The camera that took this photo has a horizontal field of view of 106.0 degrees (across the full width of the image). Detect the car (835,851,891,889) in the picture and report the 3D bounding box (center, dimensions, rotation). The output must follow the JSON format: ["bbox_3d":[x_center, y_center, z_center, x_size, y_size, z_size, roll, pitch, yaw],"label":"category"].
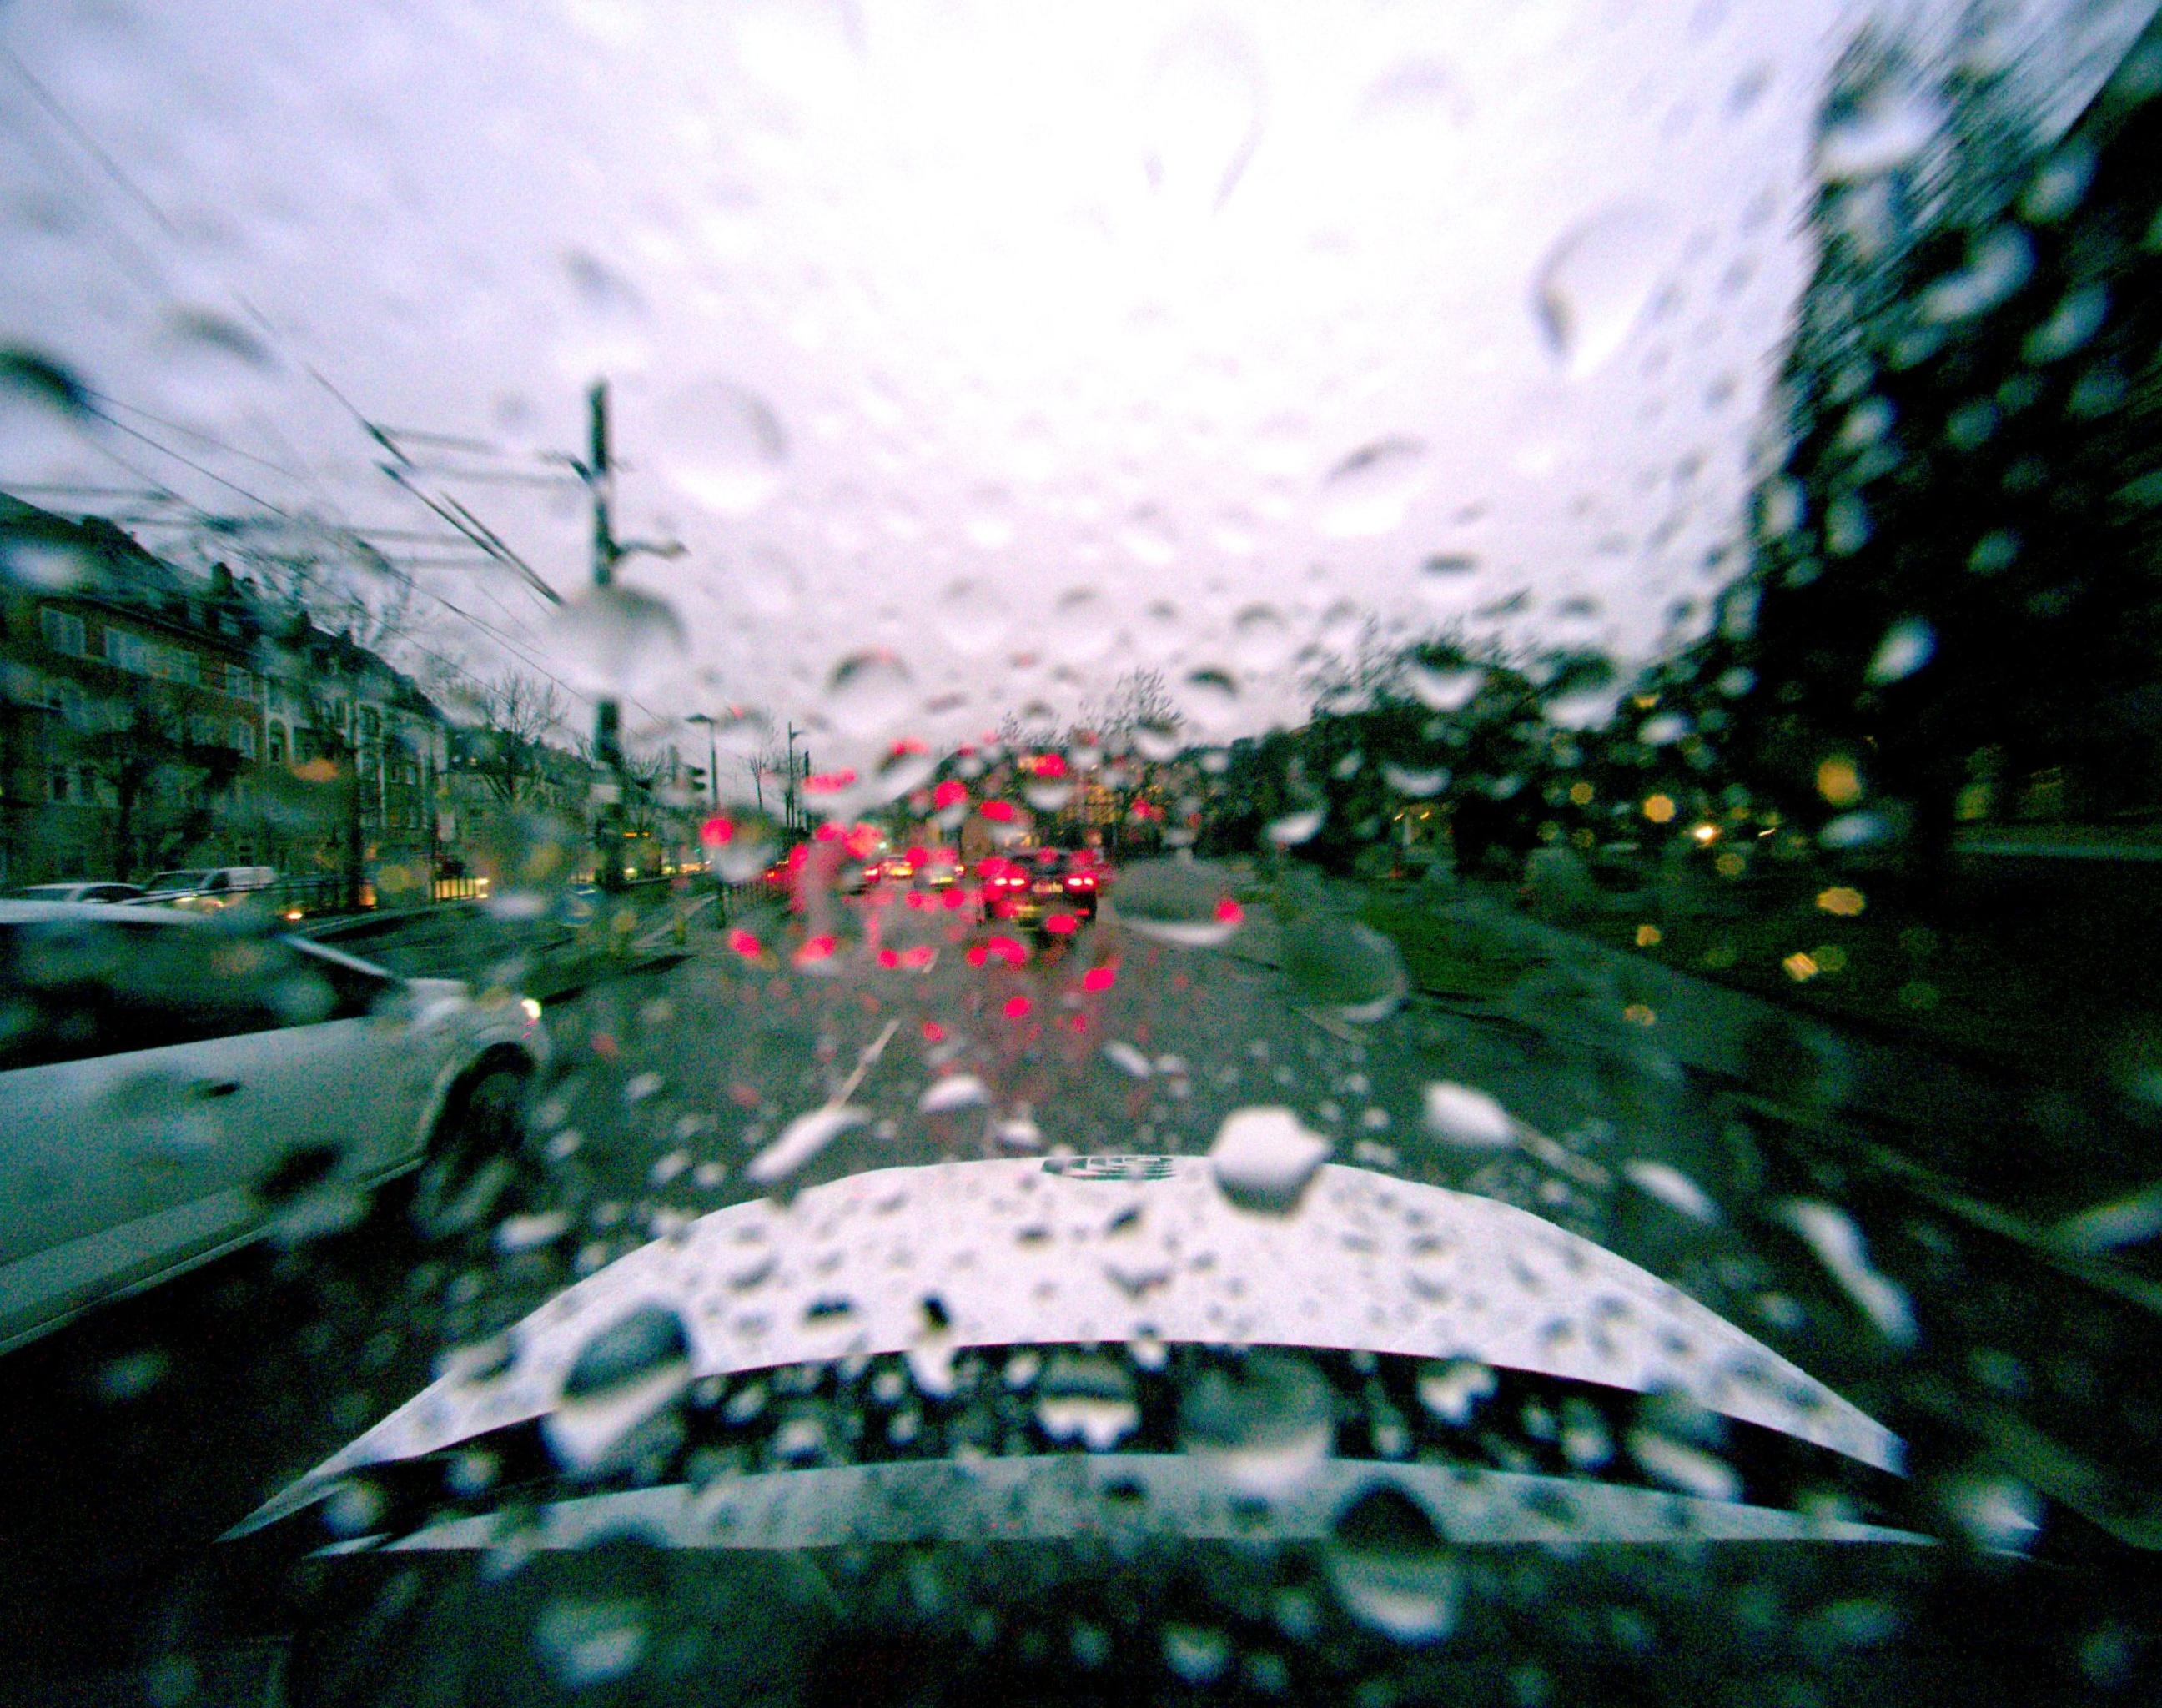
[{"bbox_3d":[-9.073,0.595,33.652,1.999,1.398,3.976,-2,1,-18],"label":"car"}]

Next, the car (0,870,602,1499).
[{"bbox_3d":[-3.564,0.905,2.577,1.621,1.487,4.001,-2,1,1],"label":"car"}]

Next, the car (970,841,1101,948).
[{"bbox_3d":[-0.980,0.619,14.962,1.990,1.616,3.988,-2,1,-9],"label":"car"}]

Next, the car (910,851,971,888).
[{"bbox_3d":[-6.044,0.602,34.709,1.999,1.408,3.976,-2,1,-18],"label":"car"}]

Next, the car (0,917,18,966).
[{"bbox_3d":[-28.110,2.310,19.233,1.541,1.226,4.063,-3,1,-18],"label":"car"}]

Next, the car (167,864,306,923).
[{"bbox_3d":[-31.974,1.429,31.023,1.999,1.940,3.919,-3,1,-18],"label":"car"}]

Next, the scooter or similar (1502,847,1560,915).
[{"bbox_3d":[8.753,0.510,15.840,1.150,1.231,0.482,-2,1,-34],"label":"scooter or similar"}]

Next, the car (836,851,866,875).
[{"bbox_3d":[-17.232,0.642,60.997,1.999,1.618,3.976,-2,1,-18],"label":"car"}]

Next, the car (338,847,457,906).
[{"bbox_3d":[-29.828,0.895,35.796,1.998,2.309,5.236,-2,1,-17],"label":"car"}]

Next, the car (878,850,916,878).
[{"bbox_3d":[-11.848,0.595,52.263,1.999,1.618,3.976,-2,1,-18],"label":"car"}]

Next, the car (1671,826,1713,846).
[{"bbox_3d":[40.509,-1.214,54.049,1.651,1.180,3.731,-2,1,28],"label":"car"}]

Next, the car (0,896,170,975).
[{"bbox_3d":[-21.453,1.648,16.863,1.541,1.245,4.062,-3,1,-18],"label":"car"}]
